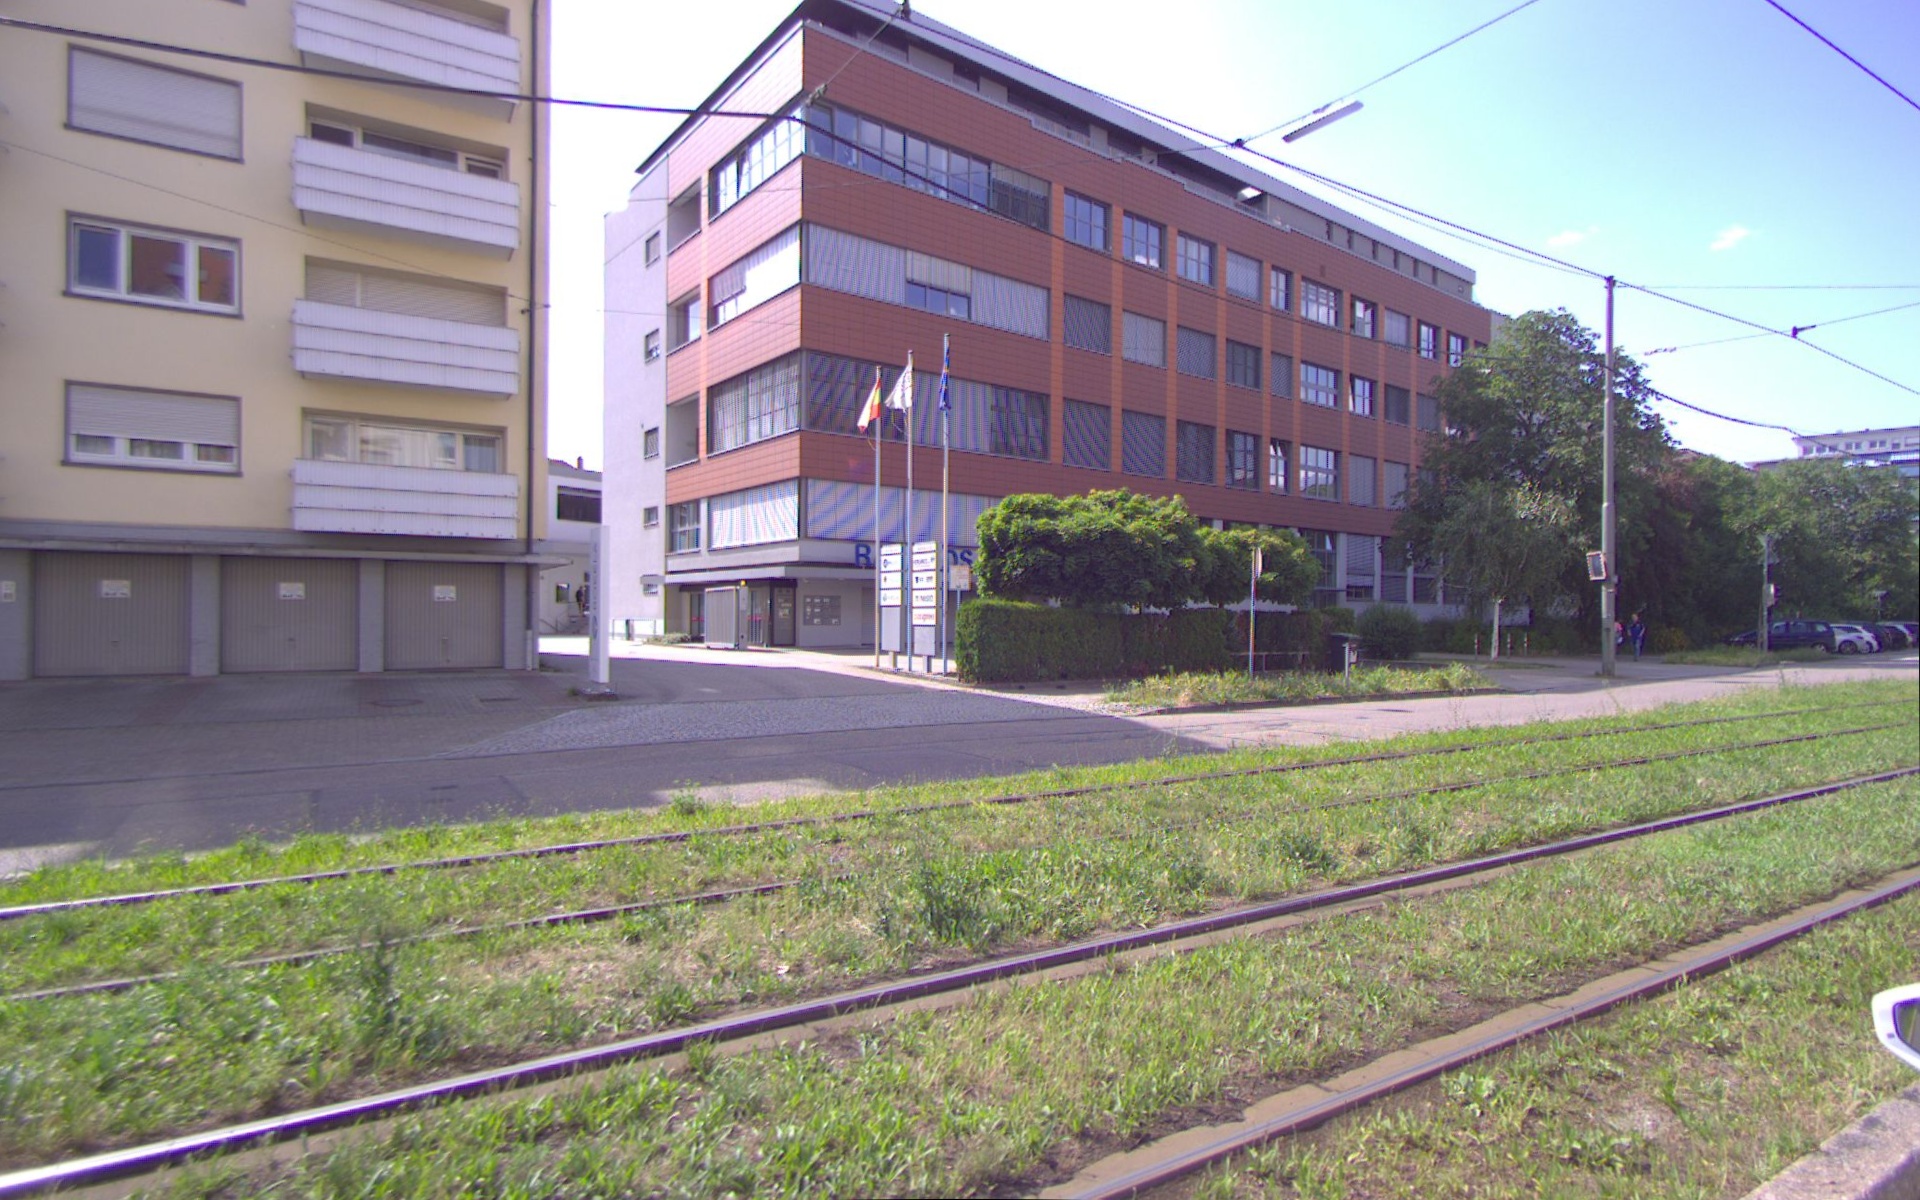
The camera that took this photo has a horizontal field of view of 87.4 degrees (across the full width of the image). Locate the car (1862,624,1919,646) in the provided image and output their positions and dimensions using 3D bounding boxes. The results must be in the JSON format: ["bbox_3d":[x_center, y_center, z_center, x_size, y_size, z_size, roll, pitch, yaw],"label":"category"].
[{"bbox_3d":[59.639,2.235,63.827,3.181,1.326,1.457,0,-1,8],"label":"car"}]

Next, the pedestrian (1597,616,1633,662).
[{"bbox_3d":[23.341,1.389,35.806,0.878,1.594,0.742,2,-2,-29],"label":"pedestrian"}]

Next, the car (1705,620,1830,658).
[{"bbox_3d":[36.506,1.737,45.515,4.049,1.662,1.727,0,-1,14],"label":"car"}]

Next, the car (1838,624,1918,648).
[{"bbox_3d":[53.000,2.061,58.053,3.181,1.326,1.457,0,-1,5],"label":"car"}]

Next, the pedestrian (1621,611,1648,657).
[{"bbox_3d":[25.084,1.256,37.350,0.738,1.679,0.554,1,-1,-29],"label":"pedestrian"}]

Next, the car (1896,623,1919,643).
[{"bbox_3d":[67.760,2.301,69.599,3.919,1.385,1.717,0,-1,12],"label":"car"}]

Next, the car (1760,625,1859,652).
[{"bbox_3d":[41.286,1.869,48.891,3.320,1.252,1.545,0,-1,14],"label":"car"}]

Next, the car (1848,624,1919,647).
[{"bbox_3d":[55.098,2.107,59.715,3.181,1.326,1.457,0,-1,8],"label":"car"}]

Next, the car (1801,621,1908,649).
[{"bbox_3d":[48.149,1.884,54.138,3.919,1.476,1.692,0,-1,13],"label":"car"}]

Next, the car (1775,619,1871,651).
[{"bbox_3d":[43.690,1.761,50.912,3.321,1.525,1.545,0,-1,16],"label":"car"}]

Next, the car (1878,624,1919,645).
[{"bbox_3d":[62.520,2.282,65.887,3.181,1.326,1.457,0,-1,8],"label":"car"}]
